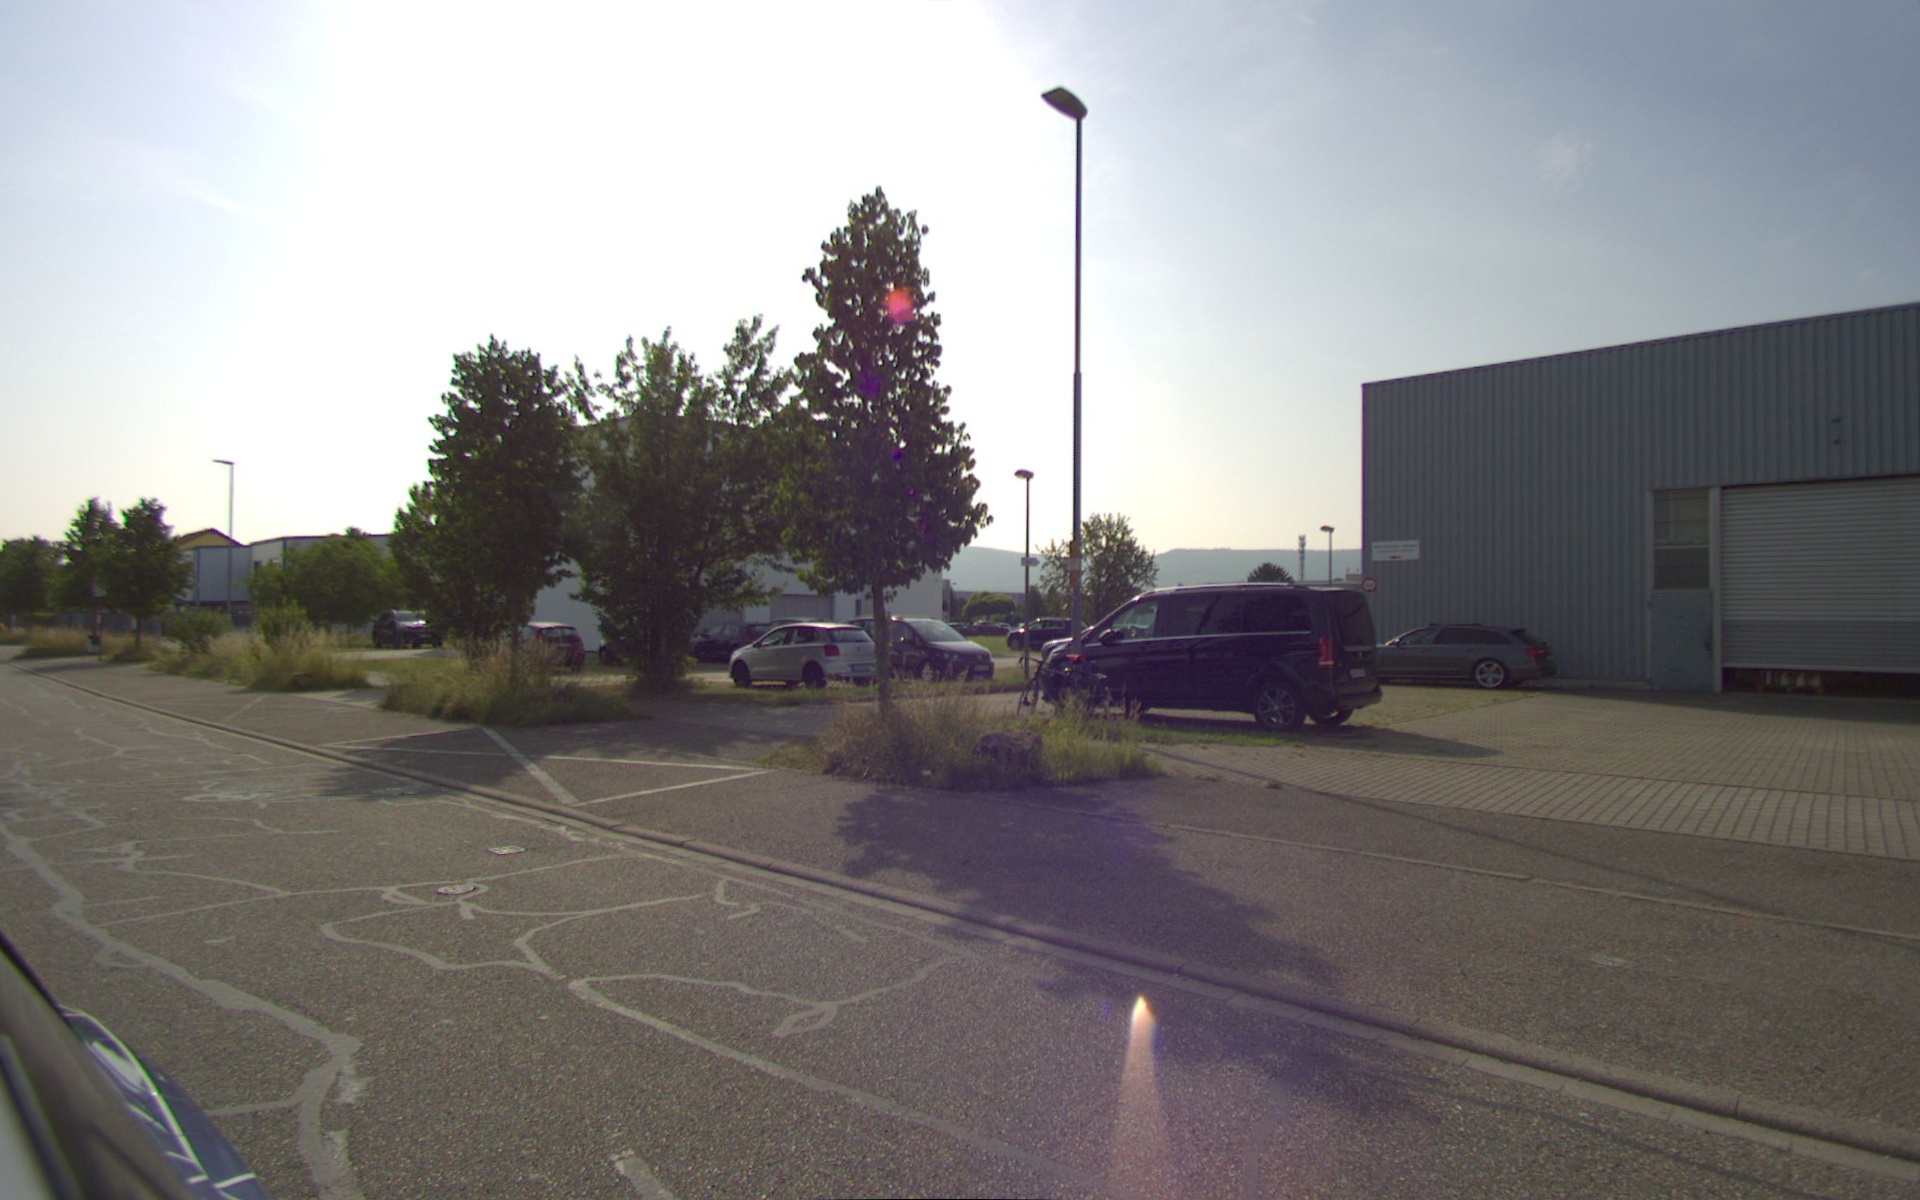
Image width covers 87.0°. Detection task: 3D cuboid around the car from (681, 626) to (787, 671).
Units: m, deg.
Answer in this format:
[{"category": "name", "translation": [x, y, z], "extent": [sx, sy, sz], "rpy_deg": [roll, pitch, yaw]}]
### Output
[{"category": "car", "translation": [-7.924, 1.635, 35.361], "extent": [3.918, 1.479, 1.735], "rpy_deg": [-1, -2, 43]}]

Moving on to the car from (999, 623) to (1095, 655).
[{"category": "car", "translation": [4.140, 1.858, 48.779], "extent": [4.563, 1.479, 1.735], "rpy_deg": [-1, -2, 43]}]

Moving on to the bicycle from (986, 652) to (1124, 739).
[{"category": "bicycle", "translation": [1.178, 1.187, 12.927], "extent": [0.534, 0.986, 1.872], "rpy_deg": [2, -2, -44]}]

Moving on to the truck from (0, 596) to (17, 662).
[{"category": "truck", "translation": [-42.140, 1.191, 42.516], "extent": [2.473, 2.855, 8.864], "rpy_deg": [4, -4, -36]}]

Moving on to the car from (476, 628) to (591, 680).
[{"category": "car", "translation": [-12.784, 1.568, 30.254], "extent": [3.918, 1.420, 1.735], "rpy_deg": [-1, -2, 43]}]

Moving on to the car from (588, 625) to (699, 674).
[{"category": "car", "translation": [-10.307, 1.561, 32.846], "extent": [3.918, 1.479, 1.735], "rpy_deg": [-1, -2, 43]}]

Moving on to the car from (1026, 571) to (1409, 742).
[{"category": "car", "translation": [3.469, 0.748, 14.386], "extent": [4.989, 2.029, 1.862], "rpy_deg": [-2, -3, 42]}]

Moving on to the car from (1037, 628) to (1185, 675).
[{"category": "car", "translation": [4.713, 1.567, 31.963], "extent": [4.377, 1.383, 1.715], "rpy_deg": [-1, -2, 39]}]

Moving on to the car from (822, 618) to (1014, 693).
[{"category": "car", "translation": [-1.075, 1.261, 24.088], "extent": [4.507, 1.619, 1.922], "rpy_deg": [-1, -2, 41]}]

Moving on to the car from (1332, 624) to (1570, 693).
[{"category": "car", "translation": [11.482, 1.305, 23.899], "extent": [4.780, 1.472, 1.697], "rpy_deg": [-2, -2, 42]}]

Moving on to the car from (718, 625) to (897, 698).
[{"category": "car", "translation": [-3.407, 1.285, 22.246], "extent": [3.915, 1.460, 1.767], "rpy_deg": [-1, -2, 40]}]

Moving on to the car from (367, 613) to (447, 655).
[{"category": "car", "translation": [-25.974, 1.573, 47.498], "extent": [4.696, 1.852, 1.971], "rpy_deg": [-1, -2, 44]}]

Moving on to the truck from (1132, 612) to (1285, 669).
[{"category": "truck", "translation": [8.758, 1.402, 35.927], "extent": [4.948, 1.918, 1.974], "rpy_deg": [-1, -2, 39]}]

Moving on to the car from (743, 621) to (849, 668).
[{"category": "car", "translation": [-6.062, 1.607, 37.234], "extent": [3.918, 1.631, 1.884], "rpy_deg": [-1, -2, 43]}]
